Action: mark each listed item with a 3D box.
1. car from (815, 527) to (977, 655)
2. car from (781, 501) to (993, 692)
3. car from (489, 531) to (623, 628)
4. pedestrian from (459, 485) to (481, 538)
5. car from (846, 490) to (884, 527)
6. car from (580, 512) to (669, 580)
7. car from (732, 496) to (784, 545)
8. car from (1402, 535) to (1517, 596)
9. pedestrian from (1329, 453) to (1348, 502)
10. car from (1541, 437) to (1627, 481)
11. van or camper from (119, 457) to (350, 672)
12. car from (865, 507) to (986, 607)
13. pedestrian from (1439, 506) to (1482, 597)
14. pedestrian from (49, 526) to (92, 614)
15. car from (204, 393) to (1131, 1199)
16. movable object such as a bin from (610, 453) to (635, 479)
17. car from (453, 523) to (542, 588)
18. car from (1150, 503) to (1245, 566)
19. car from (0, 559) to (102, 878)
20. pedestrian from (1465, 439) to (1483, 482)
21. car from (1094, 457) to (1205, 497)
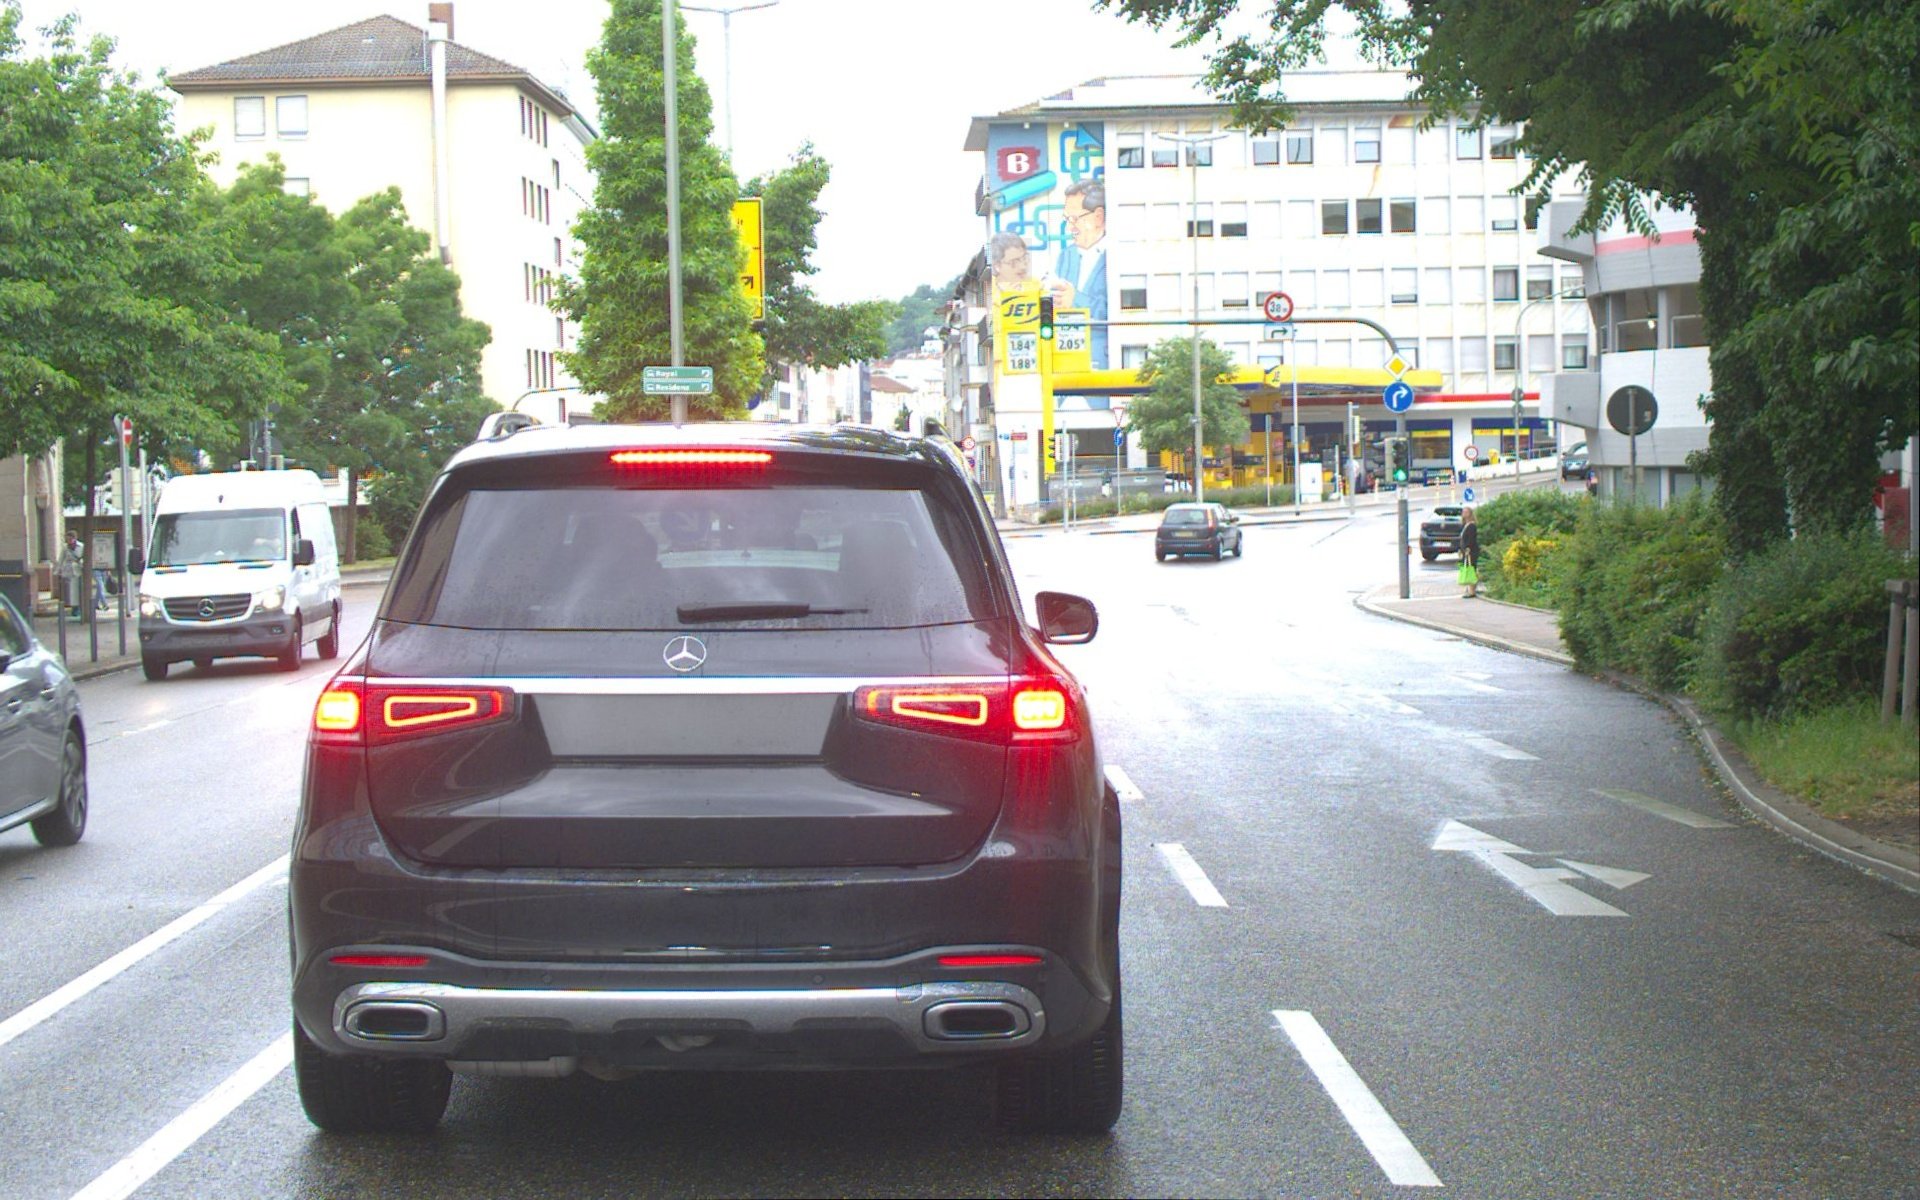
[{"bbox_3d":[-0.789,-0.130,42.923,1.907,1.496,4.000,1,1,-1],"label":"car"},{"bbox_3d":[-0.719,-0.052,34.668,1.993,1.794,4.000,1,1,-1],"label":"car"},{"bbox_3d":[-6.752,-0.374,57.798,1.883,1.492,4.563,-2,1,-3],"label":"car"},{"bbox_3d":[-16.308,-2.945,114.384,0.648,1.721,0.629,-2,2,-4],"label":"pedestrian"},{"bbox_3d":[-5.348,-5.171,194.780,1.993,2.007,4.000,1,1,0],"label":"car"},{"bbox_3d":[-7.827,-1.260,80.537,1.811,1.457,4.289,-3,1,-3],"label":"car"},{"bbox_3d":[-7.753,-3.040,132.329,1.868,1.833,3.820,1,1,-2],"label":"car"},{"bbox_3d":[12.553,-0.864,86.235,1.948,1.481,3.995,1,1,22],"label":"car"},{"bbox_3d":[13.262,-4.284,120.341,0.572,1.691,0.631,1,0,1],"label":"pedestrian"},{"bbox_3d":[25.128,-5.687,138.388,1.997,1.700,3.993,0,2,33],"label":"car"},{"bbox_3d":[-9.517,-0.495,45.573,2.101,2.573,5.909,-3,1,-4],"label":"van or camper"},{"bbox_3d":[-0.575,-0.708,56.894,1.907,1.581,4.000,1,1,-1],"label":"car"},{"bbox_3d":[9.515,-0.919,65.379,0.646,1.704,0.470,1,0,36],"label":"pedestrian"},{"bbox_3d":[-17.040,-0.581,65.849,0.642,1.660,1.019,1,0,-6],"label":"pedestrian"},{"bbox_3d":[-0.659,0.440,9.480,1.993,1.794,4.000,1,1,-1],"label":"car"},{"bbox_3d":[-13.853,-5.492,141.020,0.910,1.034,0.844,1,0,1],"label":"movable object such as a bin"},{"bbox_3d":[-11.017,-1.063,82.125,1.797,1.489,3.804,1,1,-3],"label":"car"},{"bbox_3d":[6.041,-1.666,86.982,1.797,1.520,4.054,1,2,12],"label":"car"},{"bbox_3d":[-5.370,0.588,16.284,1.741,1.465,3.883,-3,1,-3],"label":"car"},{"bbox_3d":[20.452,-5.544,136.768,0.526,1.721,0.688,0,2,26],"label":"pedestrian"},{"bbox_3d":[7.061,-4.605,128.516,1.732,1.371,3.998,-4,3,-44],"label":"car"}]
